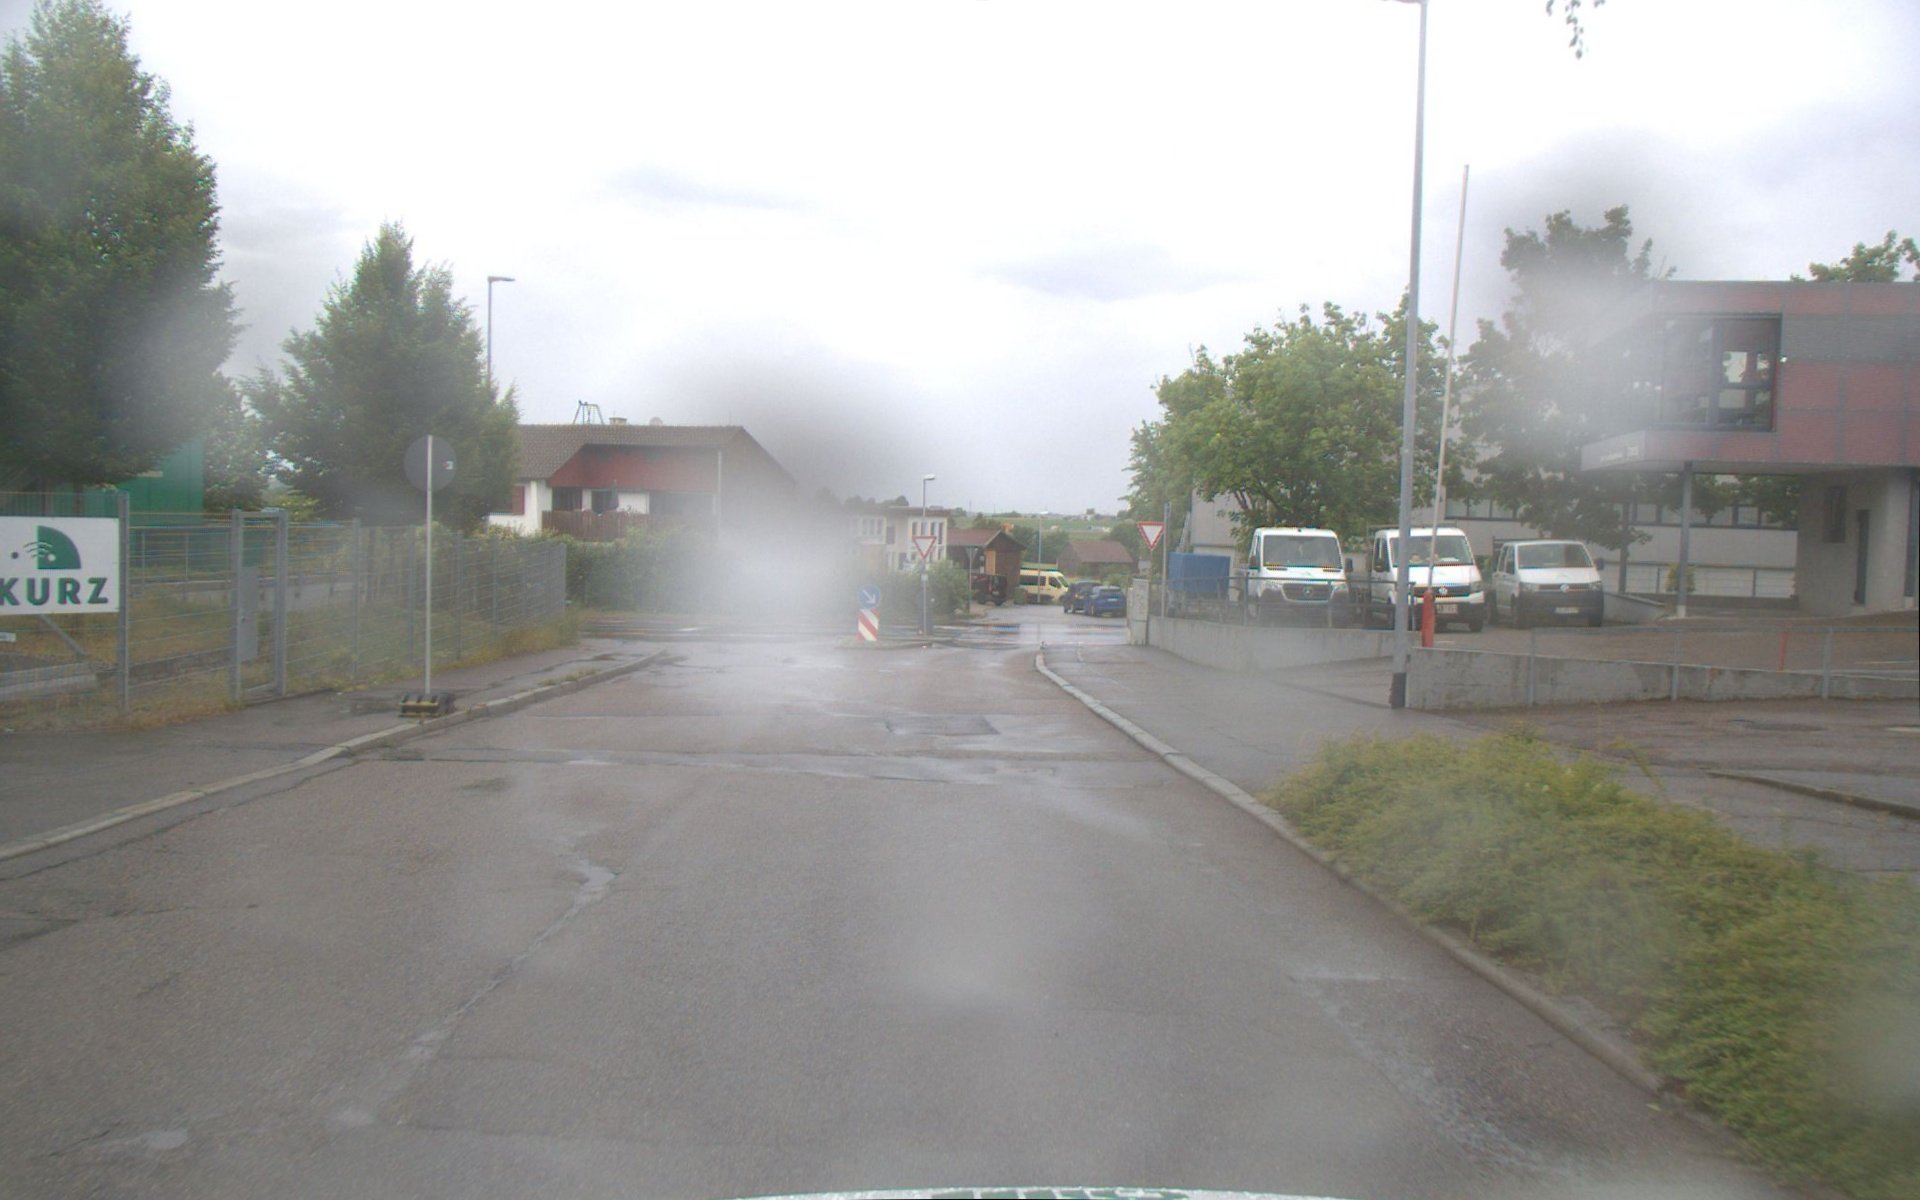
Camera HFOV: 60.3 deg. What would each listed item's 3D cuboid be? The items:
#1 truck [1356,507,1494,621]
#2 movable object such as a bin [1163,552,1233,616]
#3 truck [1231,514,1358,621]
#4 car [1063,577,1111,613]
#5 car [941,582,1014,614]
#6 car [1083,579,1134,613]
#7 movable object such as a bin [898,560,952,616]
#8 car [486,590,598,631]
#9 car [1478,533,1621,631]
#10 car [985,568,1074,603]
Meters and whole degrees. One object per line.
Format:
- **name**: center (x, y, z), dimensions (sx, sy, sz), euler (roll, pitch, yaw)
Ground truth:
- **truck**: center (10.395, -0.757, 37.329), dimensions (2.195, 2.383, 4.840), euler (1, 0, 6)
- **movable object such as a bin**: center (5.809, -0.381, 40.516), dimensions (1.281, 1.527, 1.857), euler (1, 0, -5)
- **truck**: center (7.579, -0.694, 38.012), dimensions (2.061, 2.253, 5.655), euler (1, 0, 3)
- **car**: center (6.932, -0.264, 90.437), dimensions (2.033, 1.867, 4.467), euler (1, 0, -3)
- **car**: center (1.084, -0.137, 102.208), dimensions (4.335, 1.938, 1.986), euler (1, 0, 44)
- **car**: center (7.514, -0.188, 84.094), dimensions (1.913, 1.638, 4.443), euler (1, 0, -4)
- **movable object such as a bin**: center (-1.652, -0.538, 78.862), dimensions (1.696, 2.601, 3.342), euler (1, 0, 15)
- **car**: center (-16.532, 0.418, 65.463), dimensions (3.902, 1.561, 1.762), euler (1, 0, 15)
- **car**: center (13.249, -0.376, 37.486), dimensions (2.012, 2.049, 4.942), euler (1, 0, 7)
- **car**: center (5.040, -1.029, 119.889), dimensions (5.886, 2.457, 2.463), euler (1, 0, 22)
